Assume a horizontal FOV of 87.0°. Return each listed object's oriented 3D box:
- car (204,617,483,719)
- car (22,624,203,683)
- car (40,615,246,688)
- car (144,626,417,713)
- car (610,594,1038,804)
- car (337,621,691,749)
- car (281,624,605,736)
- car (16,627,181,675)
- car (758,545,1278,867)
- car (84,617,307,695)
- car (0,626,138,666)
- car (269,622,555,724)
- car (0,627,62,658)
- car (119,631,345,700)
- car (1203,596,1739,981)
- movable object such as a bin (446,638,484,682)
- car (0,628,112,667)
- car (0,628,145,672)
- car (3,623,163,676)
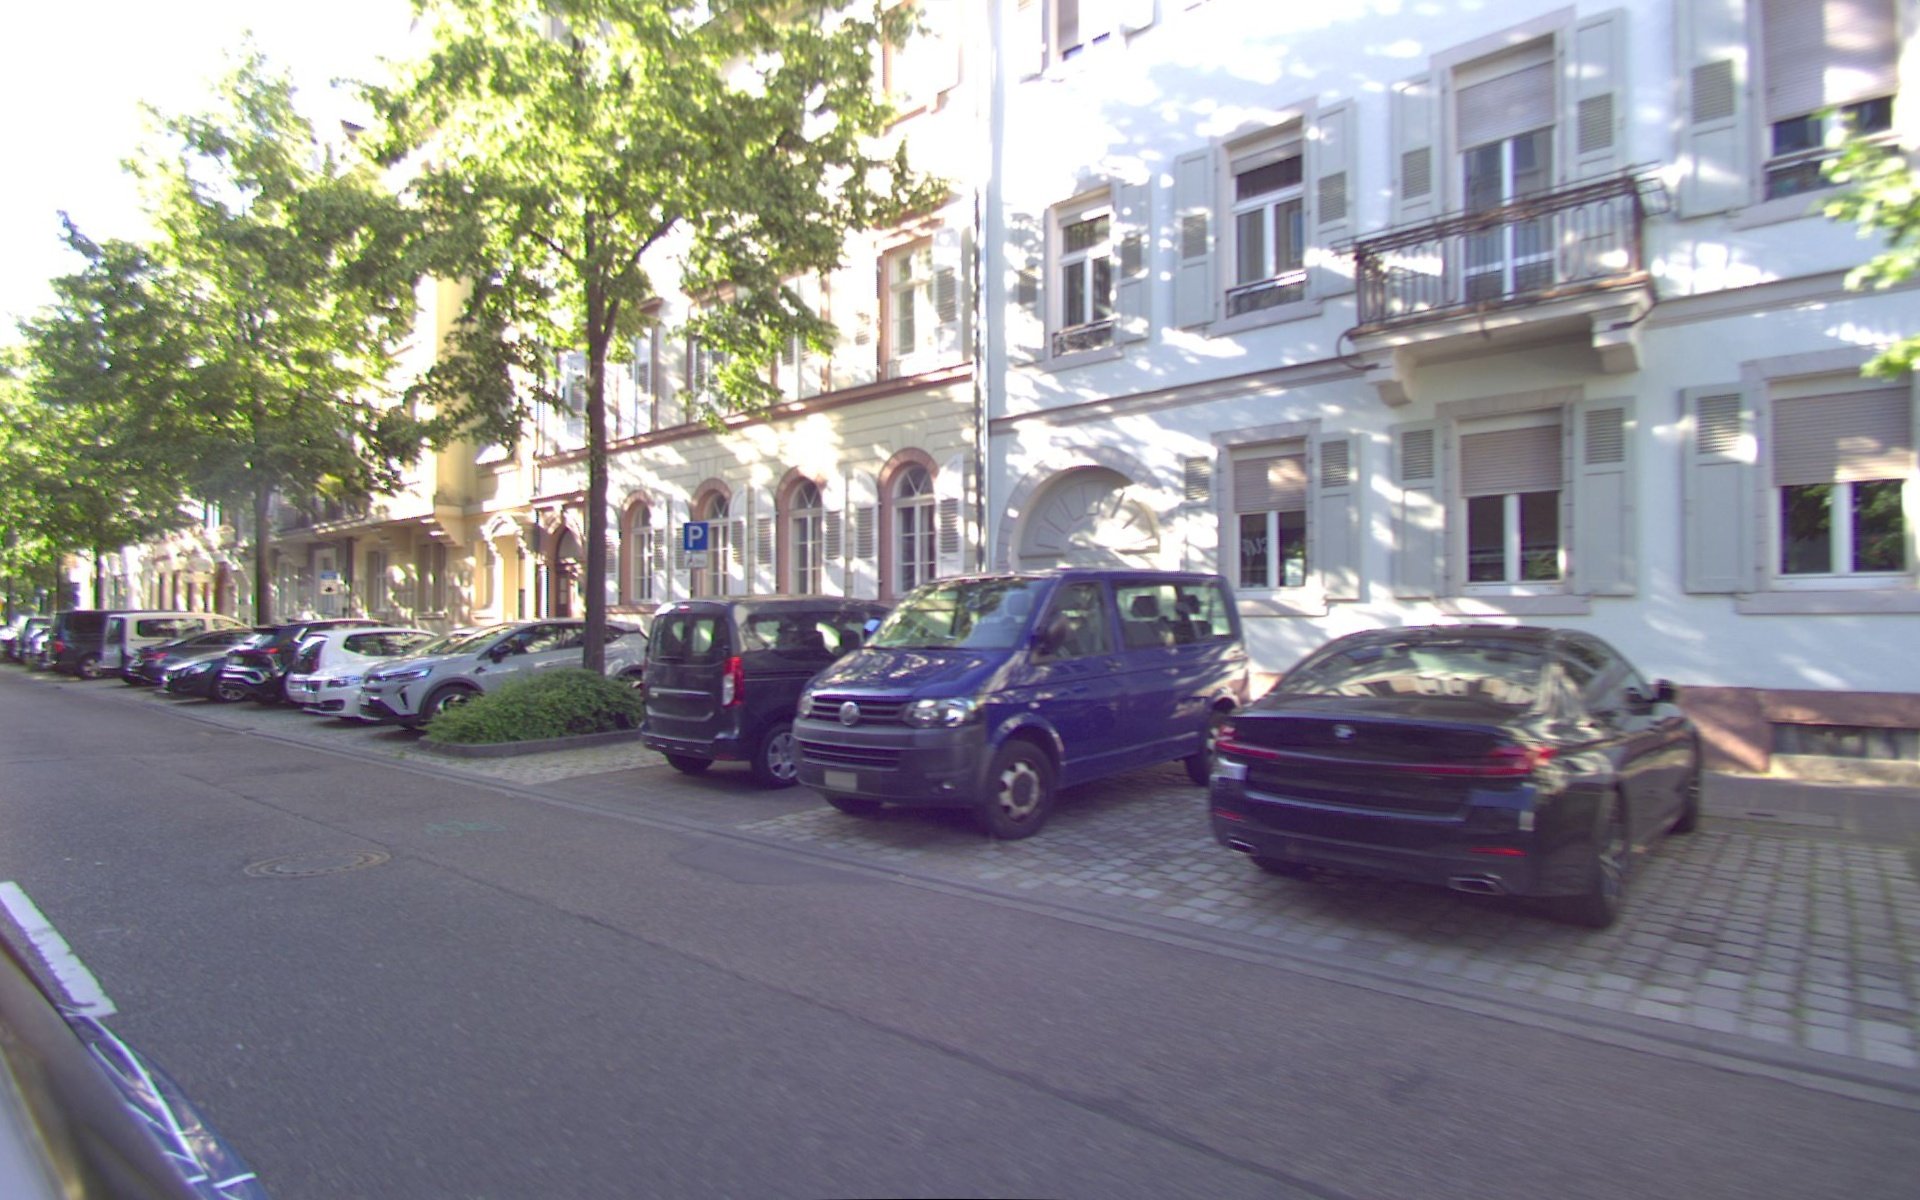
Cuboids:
[{"bbox_3d":[-11.899,1.221,19.828,1.909,1.722,4.308,-1,-1,31],"label":"car"},{"bbox_3d":[-27.815,1.688,33.317,1.914,1.746,4.297,-1,-1,38],"label":"car"},{"bbox_3d":[-23.981,1.448,29.829,1.930,1.941,4.523,-2,-1,43],"label":"car"},{"bbox_3d":[-14.021,1.353,21.082,1.916,1.552,4.418,-1,-1,42],"label":"car"},{"bbox_3d":[-1.261,0.869,10.938,1.916,1.785,4.418,-1,-1,42],"label":"car"},{"bbox_3d":[-6.449,1.117,14.963,4.415,1.552,1.918,0,-1,-45],"label":"car"},{"bbox_3d":[-8.426,1.200,16.815,1.915,1.552,4.421,-1,-1,40],"label":"car"},{"bbox_3d":[-31.433,1.821,37.033,1.913,1.556,4.300,-1,-1,37],"label":"car"},{"bbox_3d":[0.764,0.669,8.556,1.916,1.965,4.630,-1,-1,42],"label":"car"},{"bbox_3d":[-19.984,1.388,26.644,1.909,1.848,4.308,-1,-1,31],"label":"car"},{"bbox_3d":[-38.480,1.952,43.468,1.999,1.503,4.651,-3,-1,41],"label":"car"},{"bbox_3d":[-9.969,1.234,18.675,1.808,1.594,4.295,-1,-1,40],"label":"car"},{"bbox_3d":[-50.100,2.210,53.105,1.944,1.556,4.292,-1,-1,42],"label":"car"},{"bbox_3d":[-17.764,1.531,24.820,4.289,1.450,1.918,0,-1,-44],"label":"car"},{"bbox_3d":[3.387,0.741,6.136,1.684,1.470,4.595,-2,-1,43],"label":"car"},{"bbox_3d":[-12.532,1.500,25.626,0.684,1.084,0.634,-2,-2,41],"label":"movable object such as a bin"},{"bbox_3d":[-40.616,2.061,44.572,1.996,1.503,4.658,0,1,36],"label":"car"},{"bbox_3d":[-35.260,1.931,40.022,1.956,1.556,4.311,-1,-1,29],"label":"car"},{"bbox_3d":[-33.249,1.837,38.493,1.926,1.838,4.301,-1,-1,36],"label":"car"}]
